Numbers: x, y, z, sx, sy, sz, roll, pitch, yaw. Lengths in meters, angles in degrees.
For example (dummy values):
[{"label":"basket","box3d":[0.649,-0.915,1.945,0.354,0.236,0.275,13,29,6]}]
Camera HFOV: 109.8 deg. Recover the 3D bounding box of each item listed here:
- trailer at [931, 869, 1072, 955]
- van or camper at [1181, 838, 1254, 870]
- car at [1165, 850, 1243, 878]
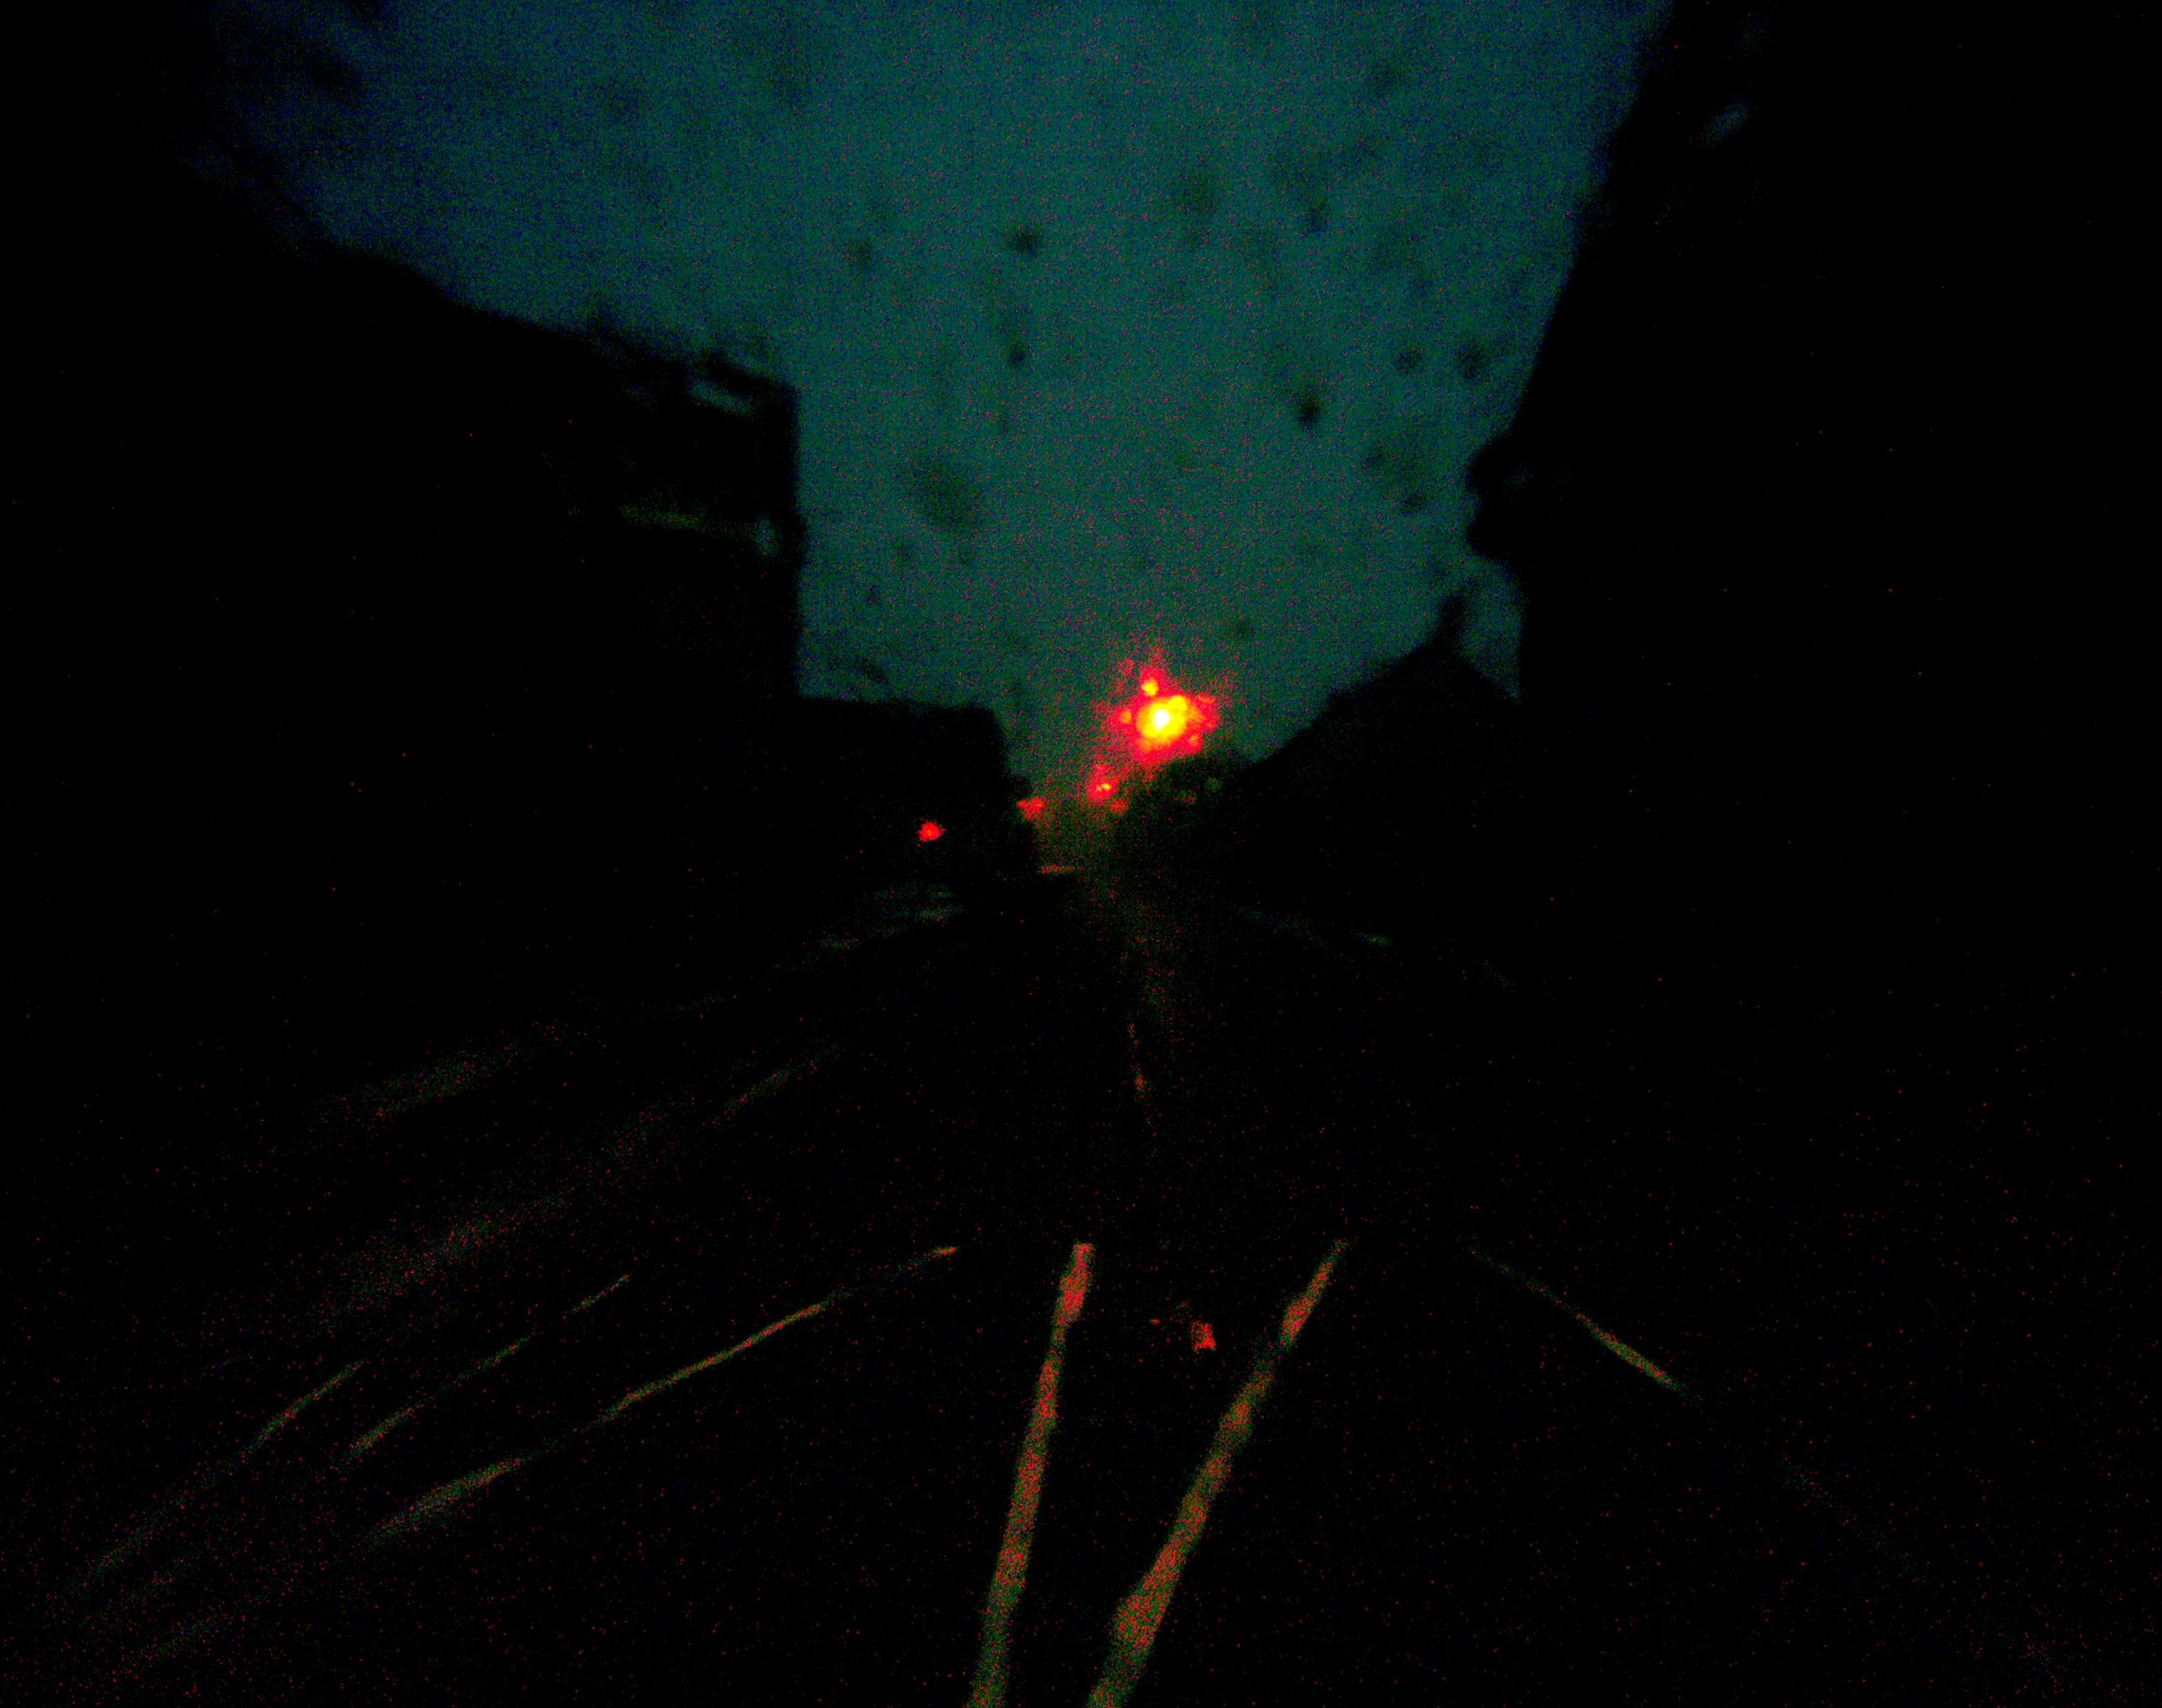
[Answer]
[{"label":"trailer","box3d":[-1.414,1.062,15.585,1.998,1.380,4.733,-1,0,5]},{"label":"van or camper","box3d":[10.627,0.042,59.164,5.313,2.434,2.141,1,0,-25]},{"label":"car","box3d":[7.996,0.677,49.860,4.803,1.656,1.891,-1,-1,2]}]
